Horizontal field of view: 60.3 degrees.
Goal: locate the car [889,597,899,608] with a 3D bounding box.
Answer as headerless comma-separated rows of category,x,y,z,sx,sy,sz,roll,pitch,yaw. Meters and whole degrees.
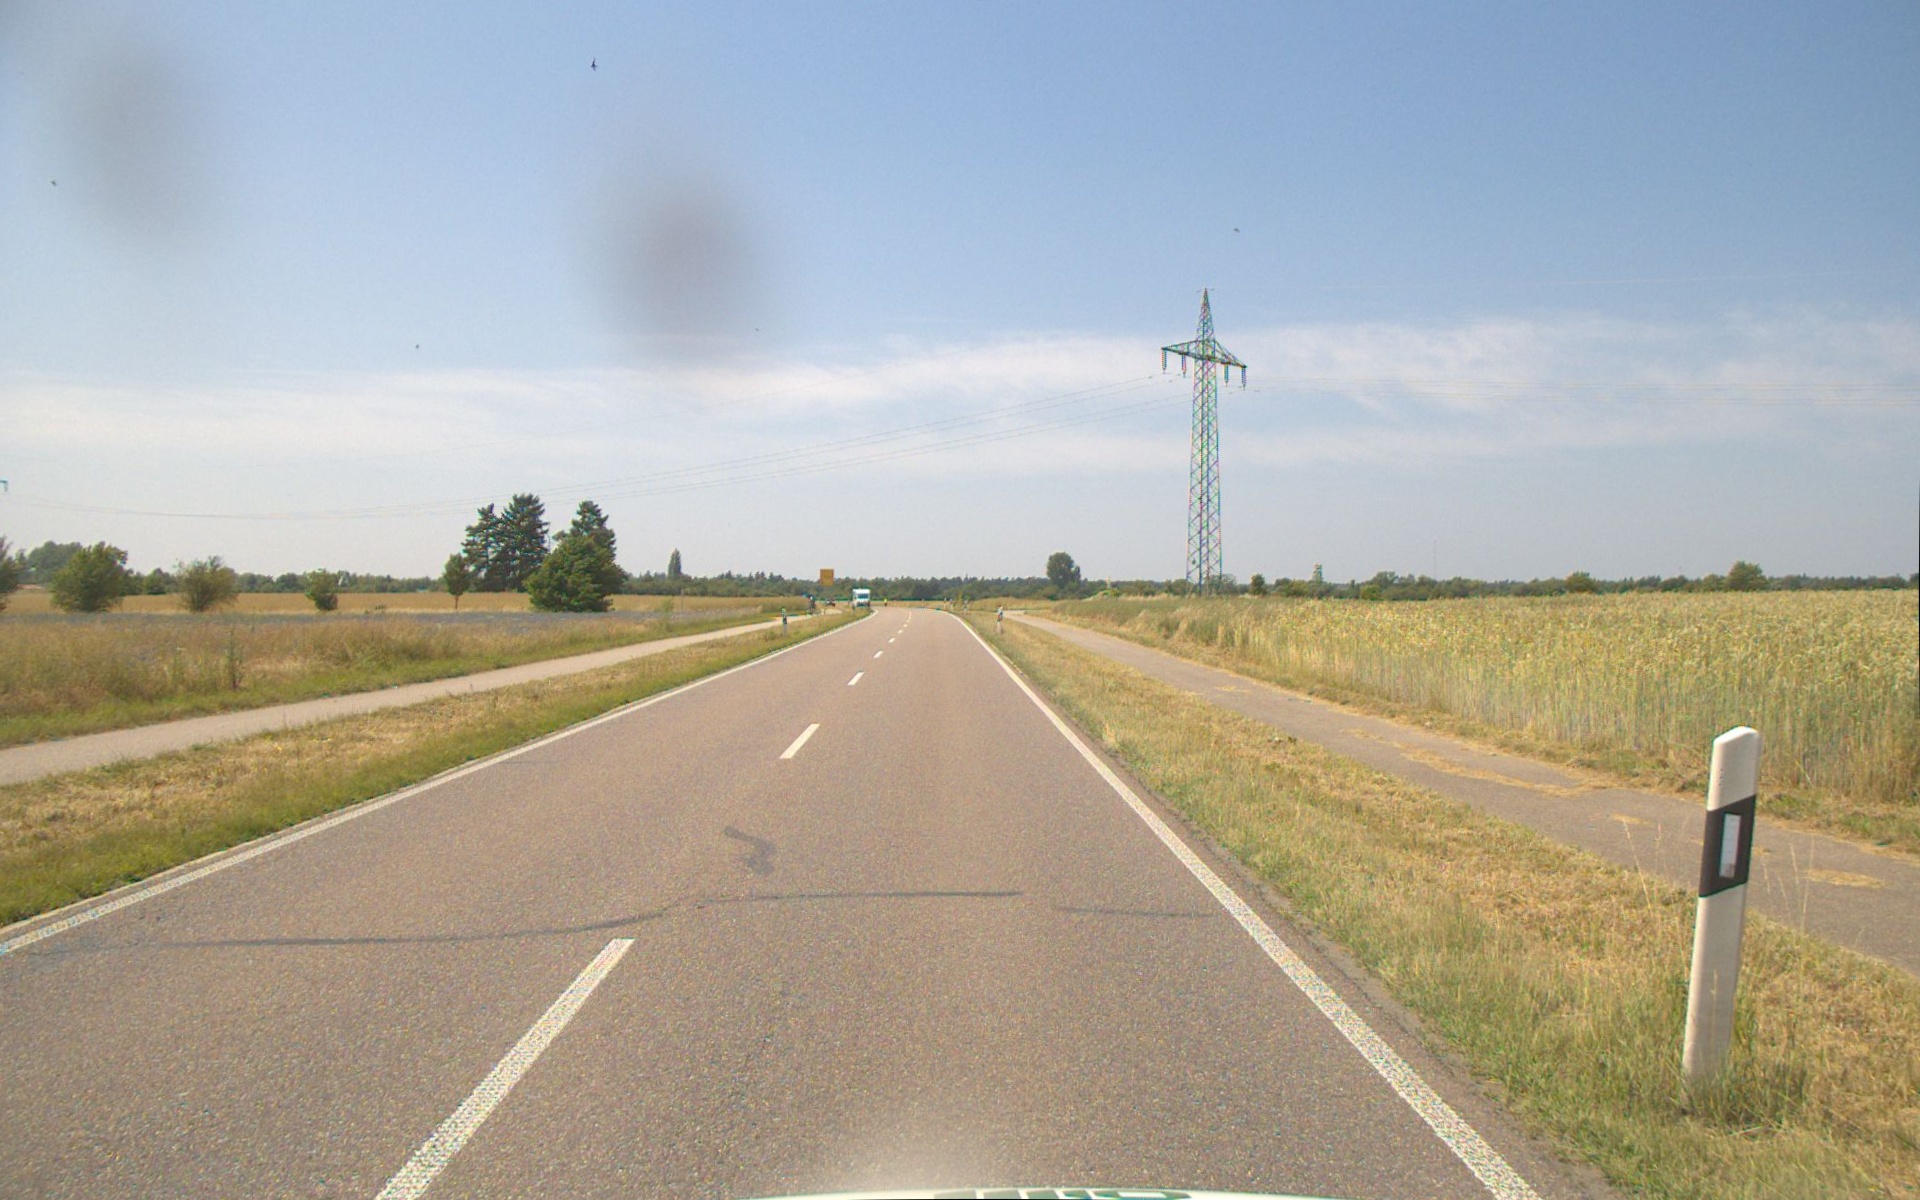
car,-10.112,0.362,253.063,1.591,1.517,3.998,0,1,-3

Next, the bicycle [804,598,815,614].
bicycle,-12.135,0.499,133.227,0.747,1.250,2.215,-1,0,-1

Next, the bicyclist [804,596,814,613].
bicyclist,-12.134,0.326,132.962,0.687,1.354,0.965,-1,0,-2
